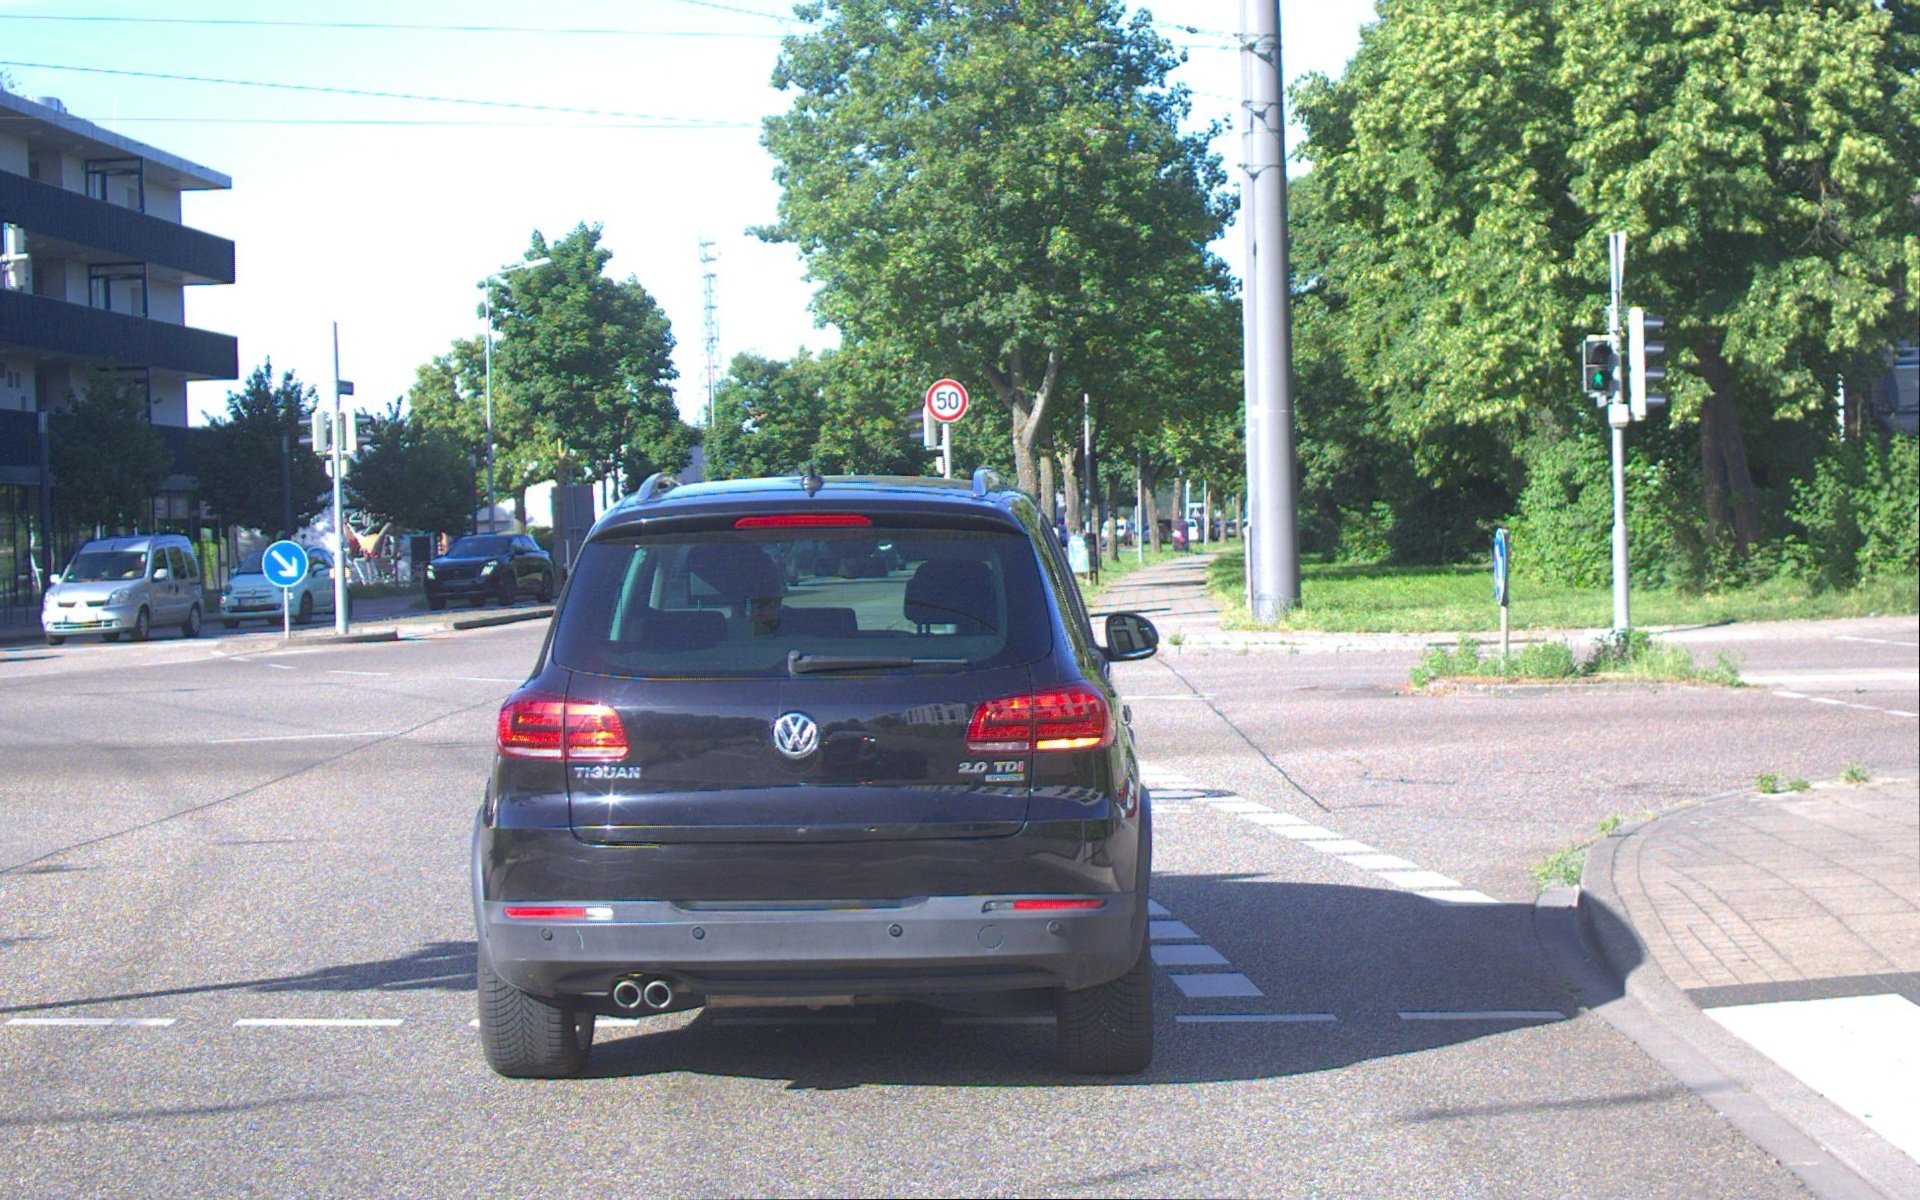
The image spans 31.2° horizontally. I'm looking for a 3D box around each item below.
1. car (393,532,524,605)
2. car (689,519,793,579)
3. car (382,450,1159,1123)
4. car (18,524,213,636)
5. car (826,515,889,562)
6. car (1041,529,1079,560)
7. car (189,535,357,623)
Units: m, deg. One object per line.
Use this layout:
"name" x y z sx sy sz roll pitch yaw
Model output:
"car" -11.250 -0.727 77.378 1.967 1.529 4.740 -2 1 3
"car" -6.078 -1.444 95.957 1.994 1.566 3.999 -2 1 9
"car" -0.358 0.416 10.793 1.929 1.649 4.514 1 1 3
"car" -13.996 -0.370 57.230 1.993 1.749 4.362 -1 1 2
"car" -4.008 -2.443 135.606 1.994 1.731 5.199 -2 1 3
"car" 5.848 -3.239 200.636 1.895 1.752 3.999 1 1 7
"car" -13.002 -0.421 65.227 1.994 1.482 3.543 -3 1 8
